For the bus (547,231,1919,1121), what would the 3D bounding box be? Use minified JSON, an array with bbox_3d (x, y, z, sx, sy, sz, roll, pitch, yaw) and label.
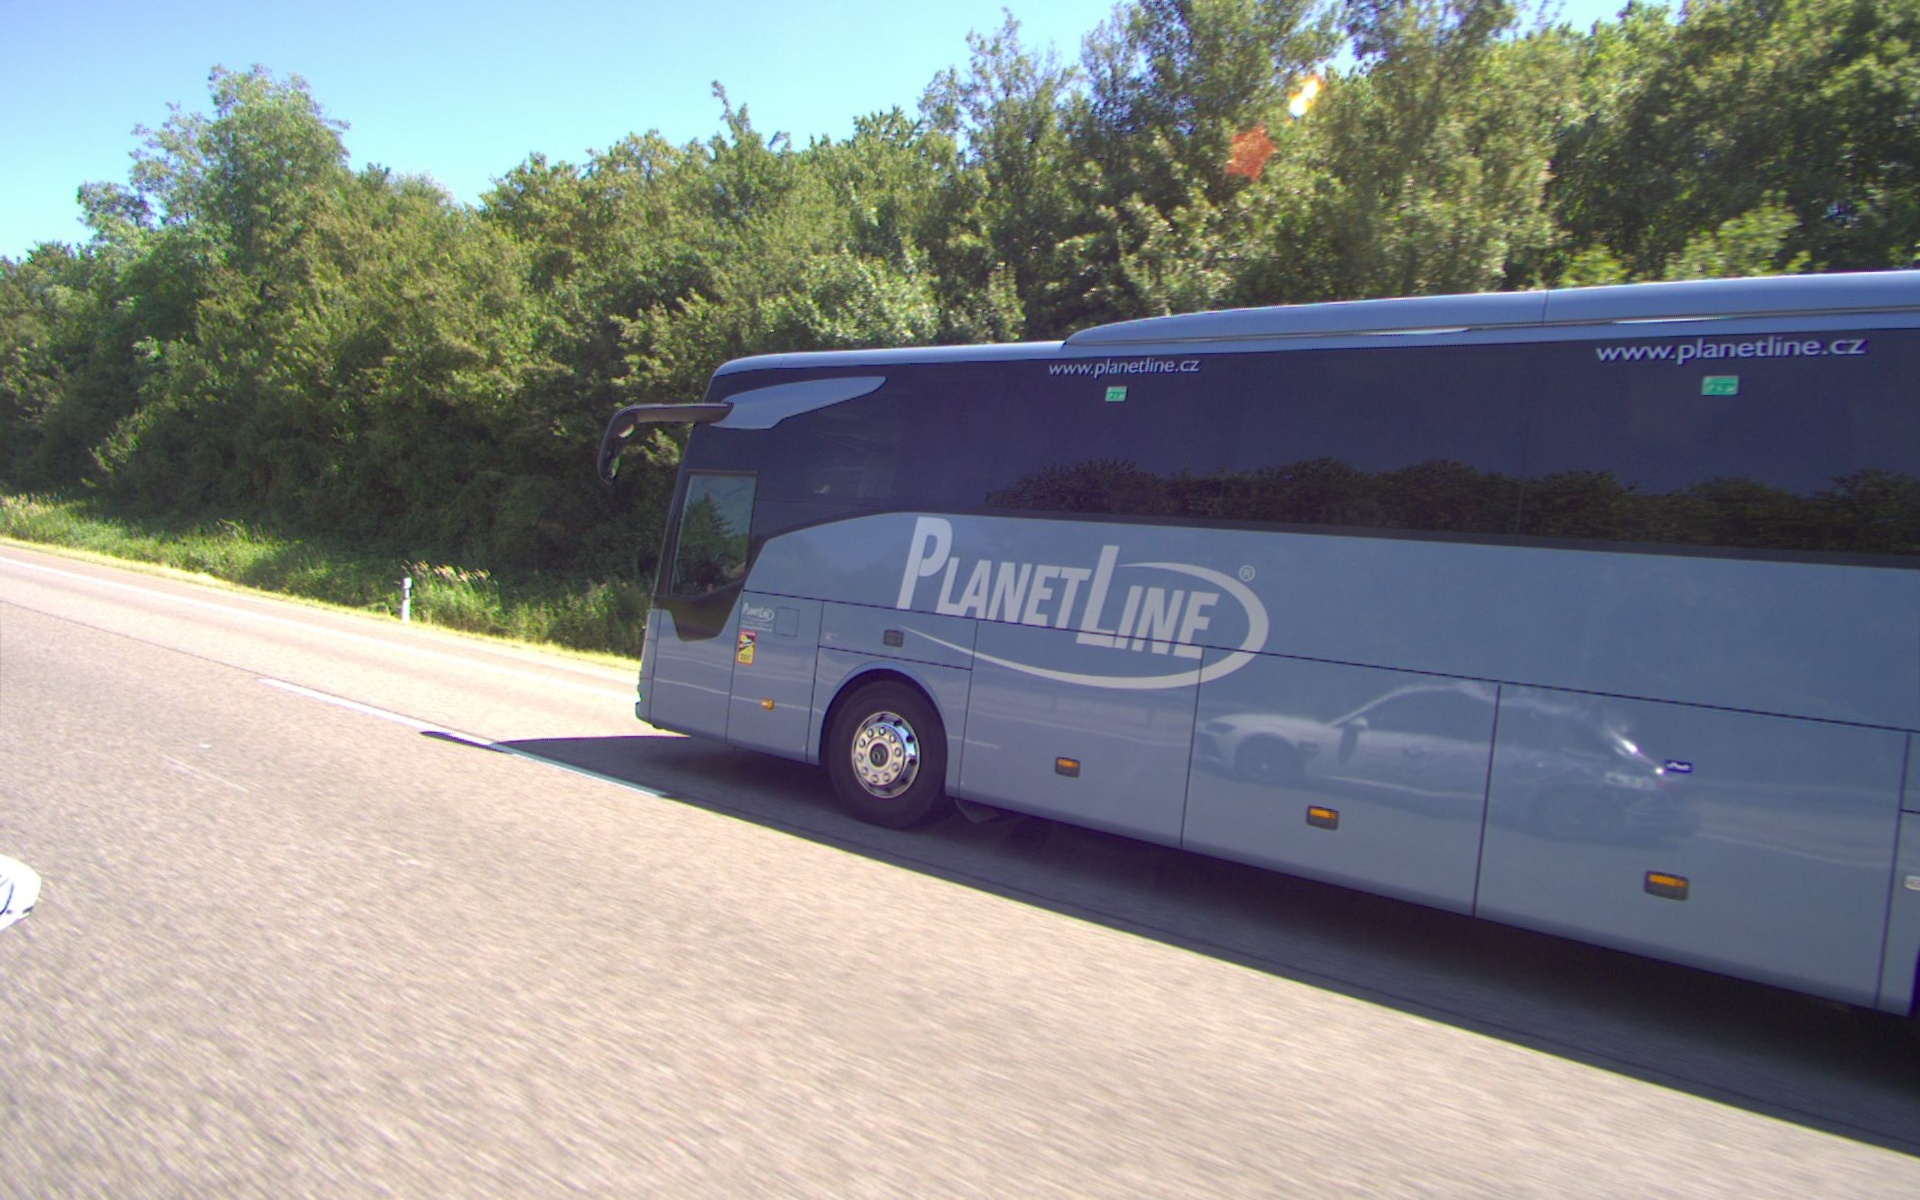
[{"bbox_3d":[2.668,0.175,6.528,12.265,3.639,2.807,6,-1,31],"label":"bus"}]
